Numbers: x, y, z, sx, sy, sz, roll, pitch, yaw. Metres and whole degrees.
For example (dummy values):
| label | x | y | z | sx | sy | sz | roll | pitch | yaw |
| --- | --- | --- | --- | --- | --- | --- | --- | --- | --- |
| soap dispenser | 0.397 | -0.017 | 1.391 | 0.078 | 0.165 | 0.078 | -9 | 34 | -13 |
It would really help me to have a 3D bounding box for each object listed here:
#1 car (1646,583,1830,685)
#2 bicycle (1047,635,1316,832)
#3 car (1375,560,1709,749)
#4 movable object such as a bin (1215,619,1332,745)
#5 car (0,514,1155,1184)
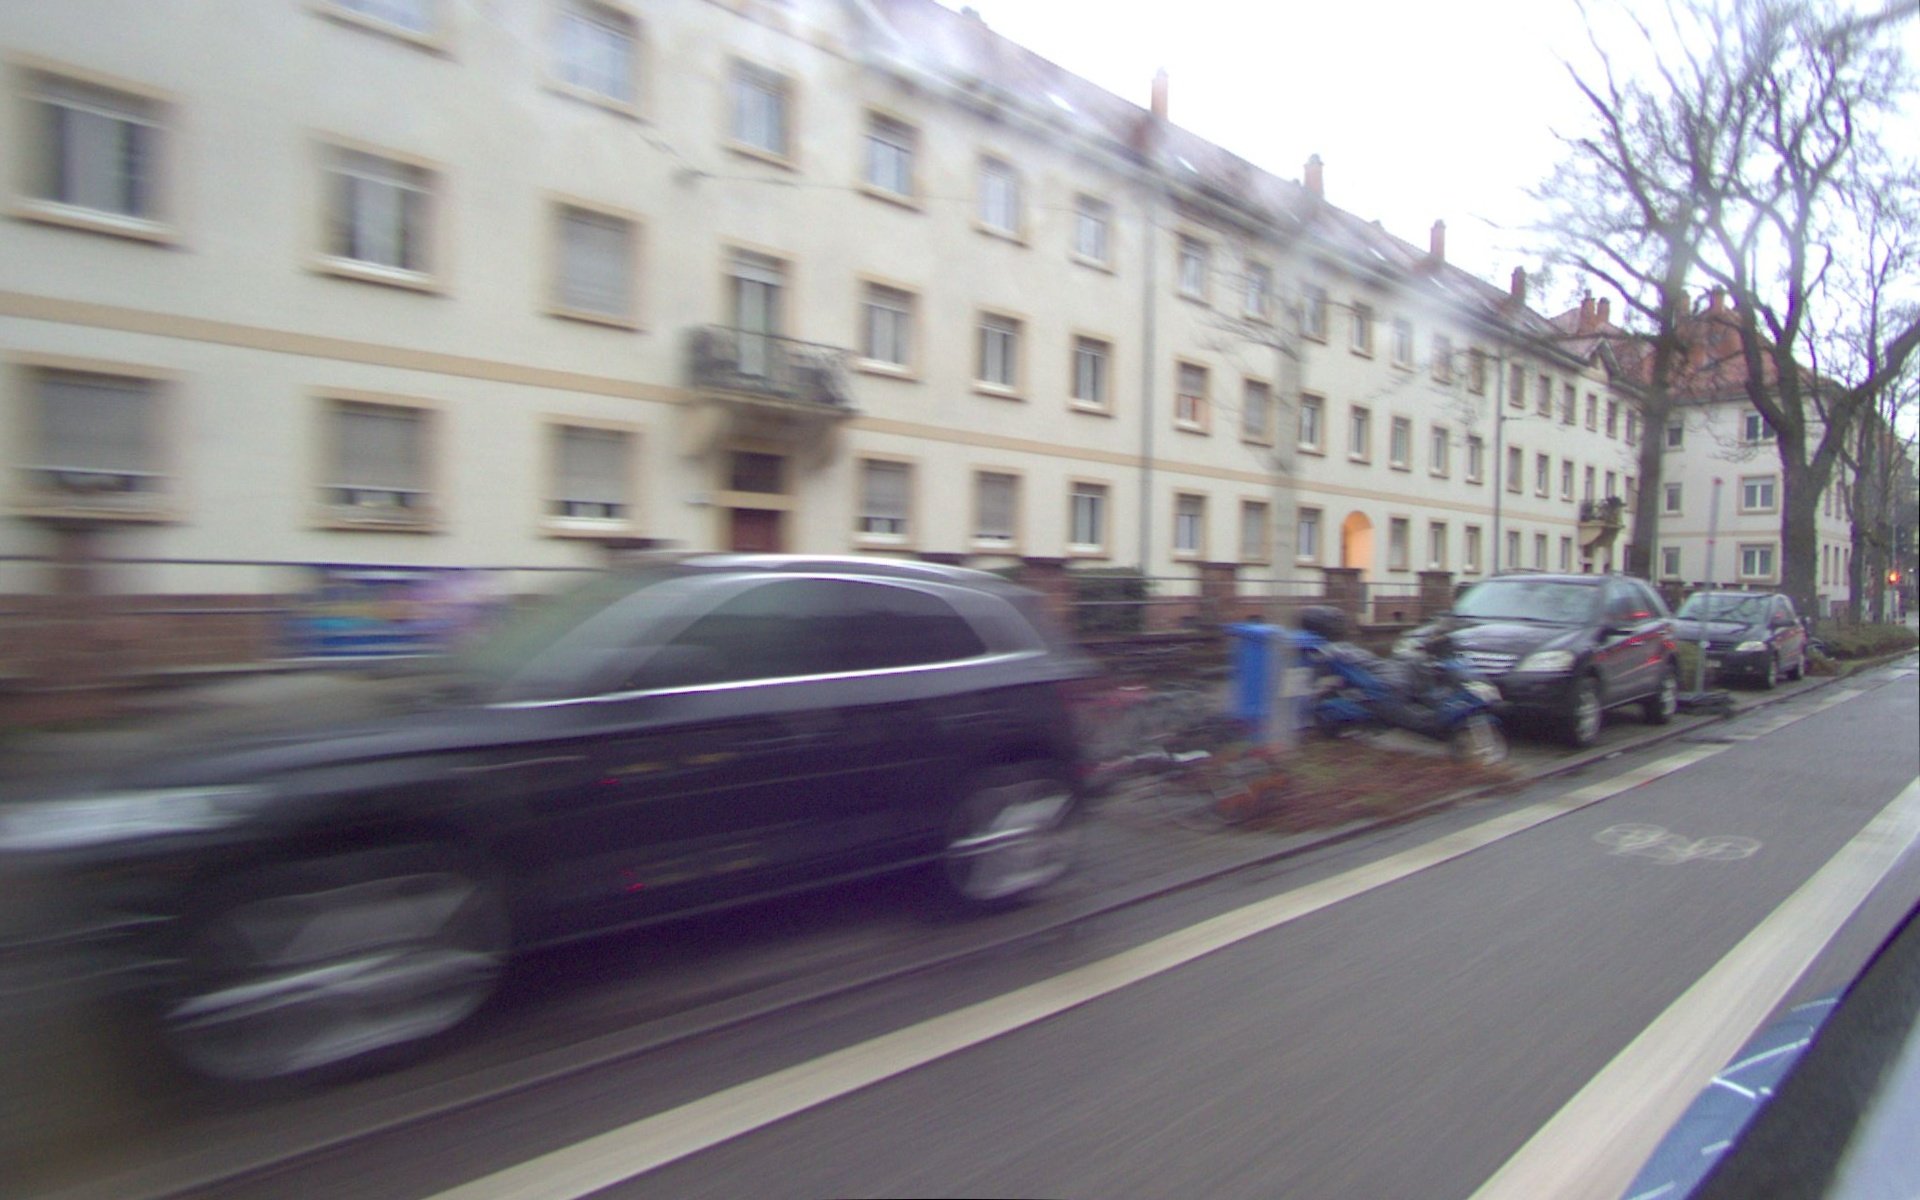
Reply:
| label | x | y | z | sx | sy | sz | roll | pitch | yaw |
| --- | --- | --- | --- | --- | --- | --- | --- | --- | --- |
| car | 13.398 | 0.481 | 17.359 | 3.919 | 1.528 | 1.788 | -1 | 2 | -41 |
| bicycle | 1.439 | 0.835 | 7.033 | 0.456 | 0.927 | 2.022 | 0 | 6 | -34 |
| car | 6.878 | 0.451 | 11.720 | 4.818 | 1.749 | 1.909 | -1 | 2 | -41 |
| movable object such as a bin | 2.795 | 0.709 | 9.033 | 0.752 | 0.965 | 0.560 | 9 | 6 | 44 |
| car | -1.326 | 0.557 | 4.518 | 4.479 | 1.630 | 1.910 | -1 | 2 | -39 |
